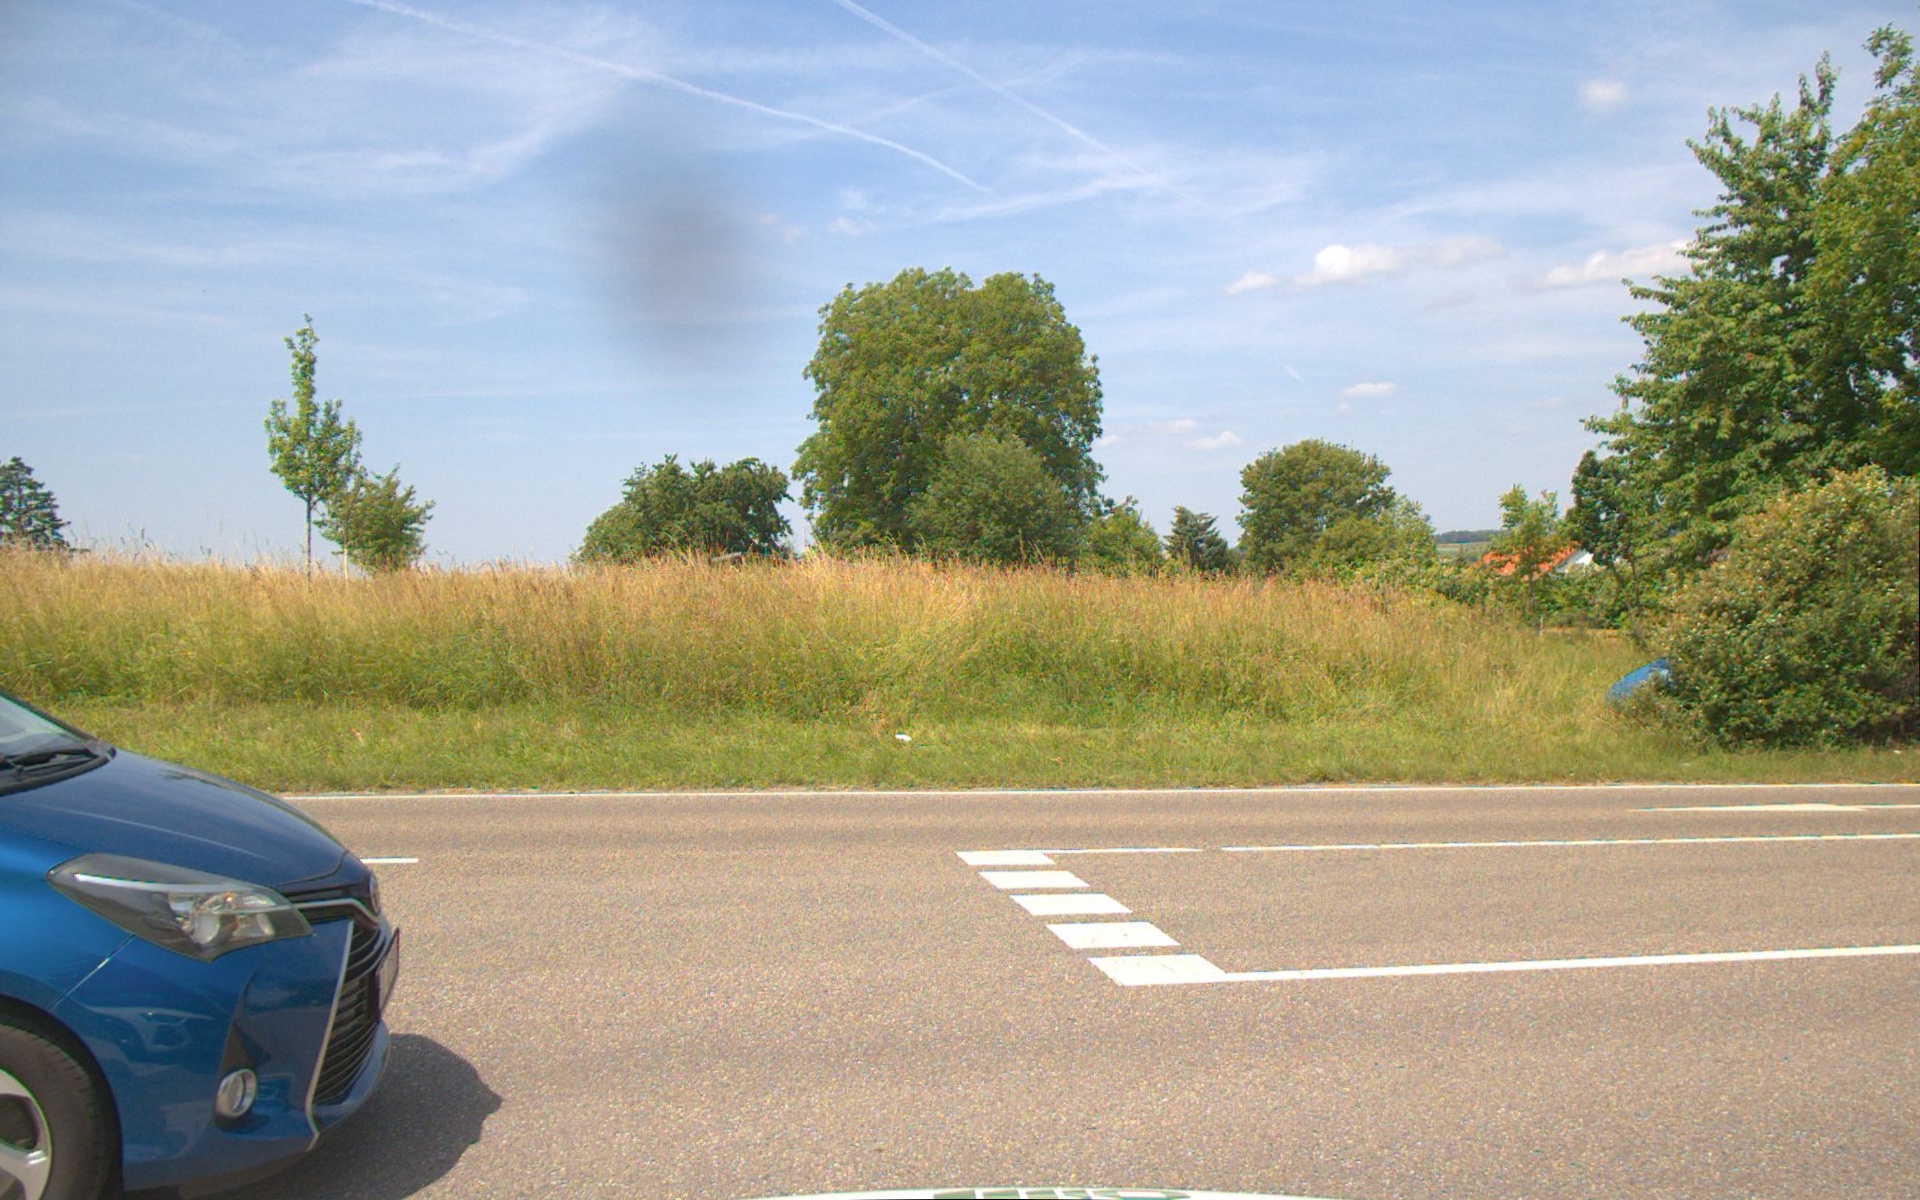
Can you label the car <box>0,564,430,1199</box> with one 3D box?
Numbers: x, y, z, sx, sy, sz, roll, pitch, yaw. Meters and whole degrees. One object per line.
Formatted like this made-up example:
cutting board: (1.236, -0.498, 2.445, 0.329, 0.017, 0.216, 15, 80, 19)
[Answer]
car: (-3.264, 0.659, 3.794, 3.771, 1.518, 1.607, 1, 1, -15)
